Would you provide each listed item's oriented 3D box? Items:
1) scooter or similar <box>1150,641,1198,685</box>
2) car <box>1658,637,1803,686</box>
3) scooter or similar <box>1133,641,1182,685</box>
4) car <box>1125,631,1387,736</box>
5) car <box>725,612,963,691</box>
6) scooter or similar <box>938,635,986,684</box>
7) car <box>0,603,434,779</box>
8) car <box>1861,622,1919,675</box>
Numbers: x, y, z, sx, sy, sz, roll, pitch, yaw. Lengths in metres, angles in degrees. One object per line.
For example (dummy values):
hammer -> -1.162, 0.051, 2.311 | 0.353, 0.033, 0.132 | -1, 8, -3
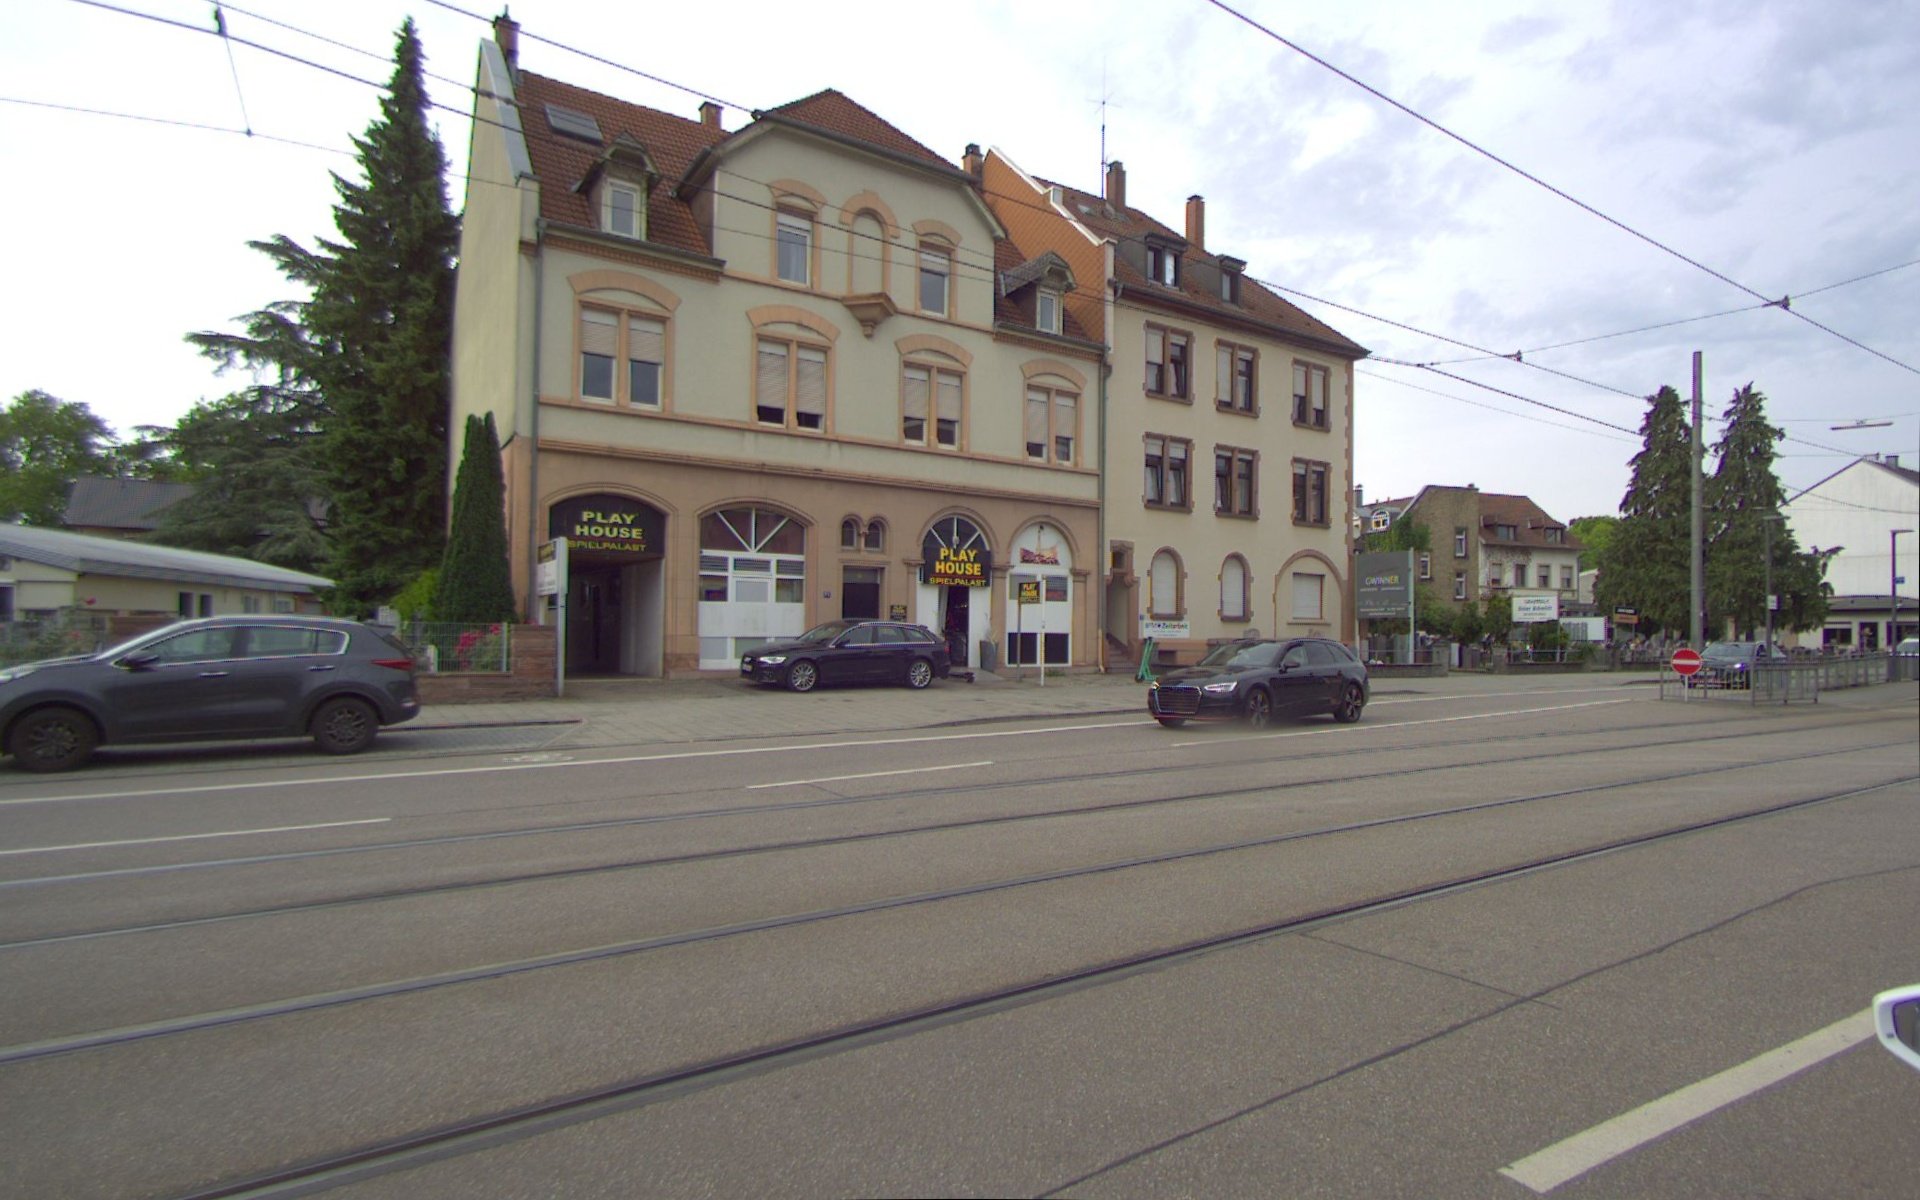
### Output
scooter or similar -> 5.799, 1.692, 27.218 | 1.156, 1.116, 0.527 | 1, -1, 27
car -> 23.766, 1.880, 30.984 | 4.368, 1.447, 1.875 | 2, -3, -27
scooter or similar -> 5.227, 1.663, 26.608 | 1.156, 1.116, 0.527 | 1, -1, 27
car -> 5.025, 1.316, 16.702 | 4.782, 1.492, 1.888 | 3, -4, -41
car -> -2.509, 1.116, 22.217 | 4.853, 1.512, 1.981 | 2, 0, -35
scooter or similar -> 0.041, 1.447, 24.691 | 0.523, 1.116, 1.165 | 2, 0, -37
car -> -9.056, 0.972, 12.187 | 4.492, 1.773, 2.022 | 1, 0, -37
car -> 37.919, 1.944, 39.954 | 4.474, 2.014, 1.875 | 2, -3, -31
